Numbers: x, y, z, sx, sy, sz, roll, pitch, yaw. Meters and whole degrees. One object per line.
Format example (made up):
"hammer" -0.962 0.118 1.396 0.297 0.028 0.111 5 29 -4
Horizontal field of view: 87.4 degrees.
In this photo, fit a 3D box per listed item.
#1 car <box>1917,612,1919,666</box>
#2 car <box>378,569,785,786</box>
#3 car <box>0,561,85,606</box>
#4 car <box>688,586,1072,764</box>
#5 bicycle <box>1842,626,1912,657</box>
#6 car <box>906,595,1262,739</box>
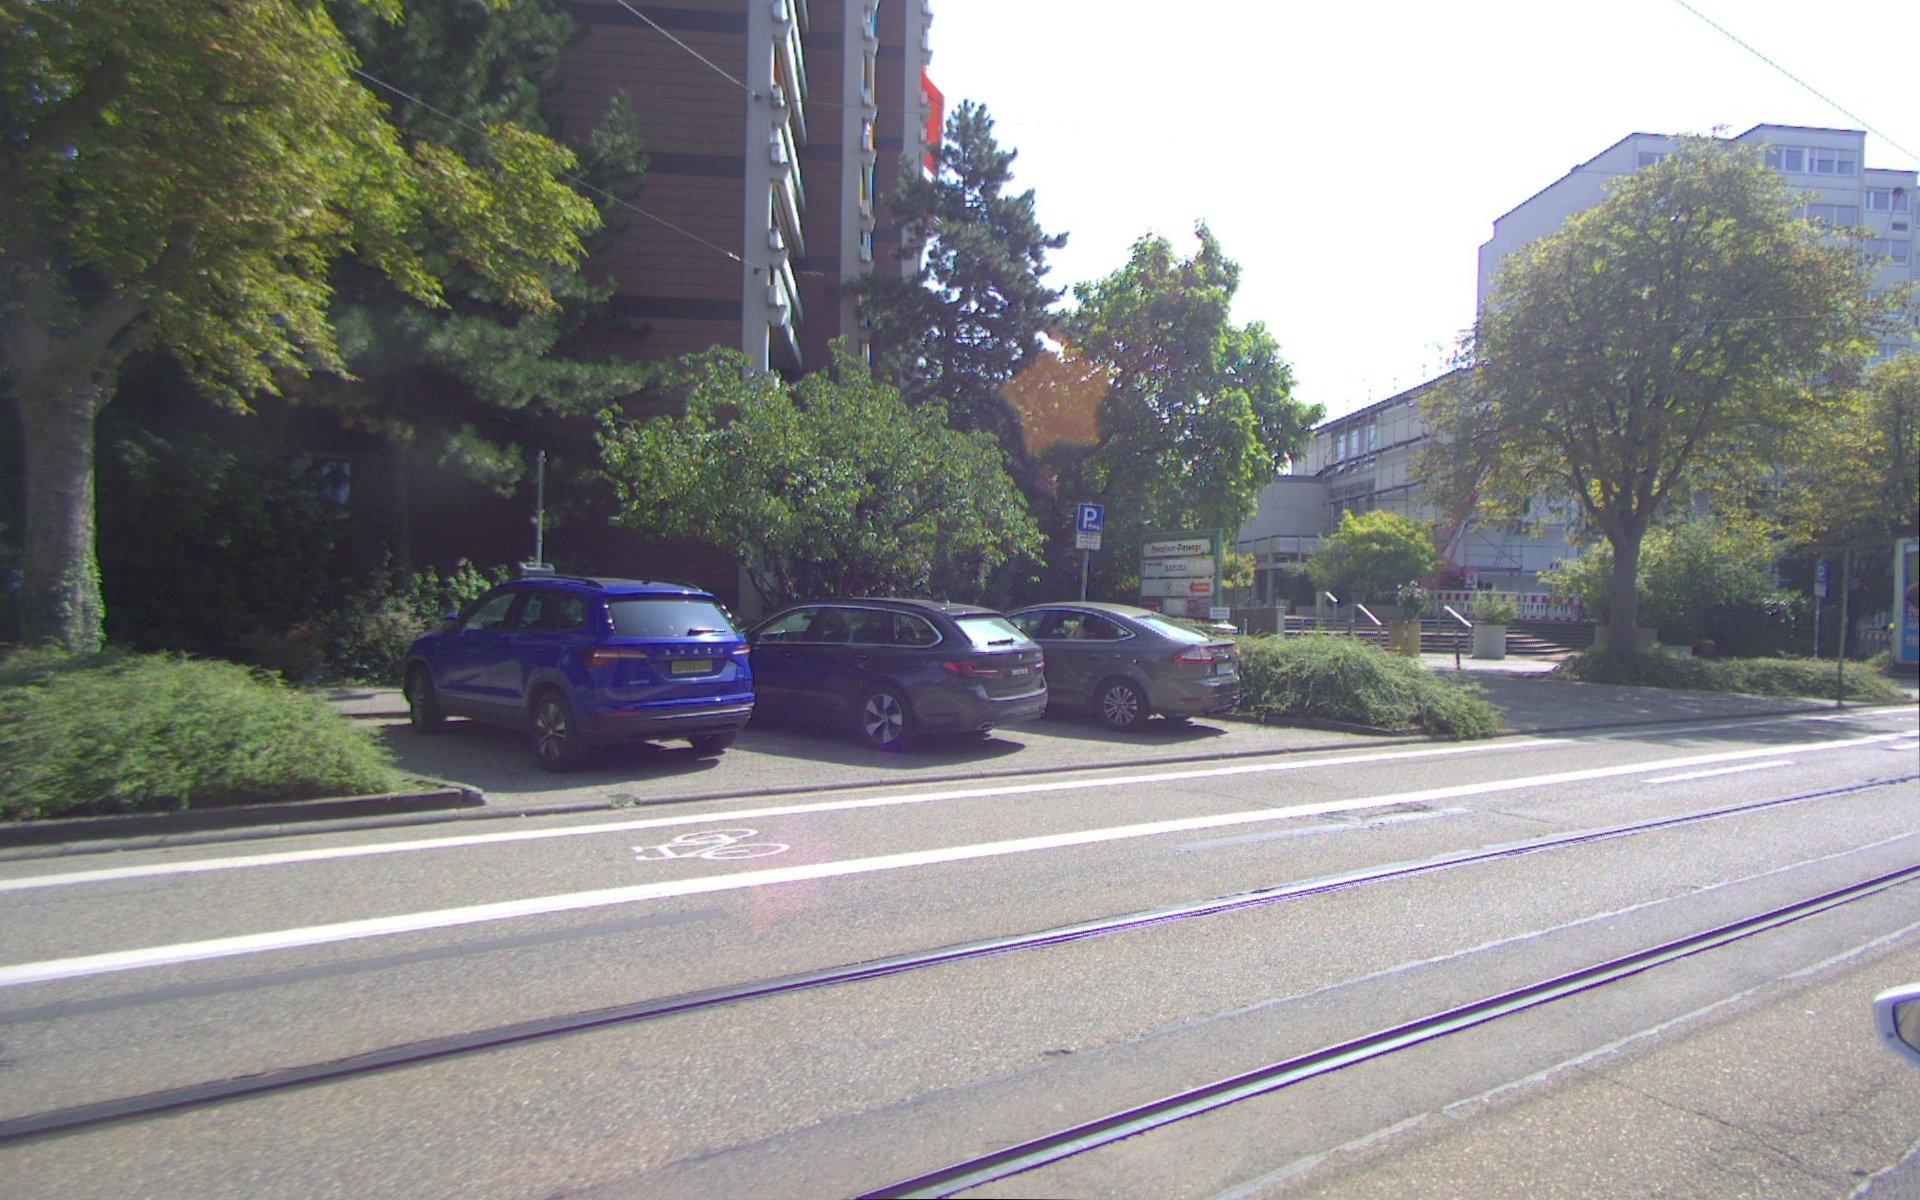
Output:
"car" 34.146 1.337 32.501 4.200 1.795 1.826 1 0 17
"car" -3.734 0.572 9.657 3.936 1.670 1.835 1 0 37
"car" -37.786 -0.680 40.056 3.939 1.696 1.833 1 1 -20
"car" -0.938 0.684 11.026 3.931 1.591 1.776 1 0 33
"bicycle" 40.148 1.802 44.024 0.591 1.185 2.341 2 1 -10
"car" 1.522 0.745 12.987 4.223 1.517 1.775 1 0 34
